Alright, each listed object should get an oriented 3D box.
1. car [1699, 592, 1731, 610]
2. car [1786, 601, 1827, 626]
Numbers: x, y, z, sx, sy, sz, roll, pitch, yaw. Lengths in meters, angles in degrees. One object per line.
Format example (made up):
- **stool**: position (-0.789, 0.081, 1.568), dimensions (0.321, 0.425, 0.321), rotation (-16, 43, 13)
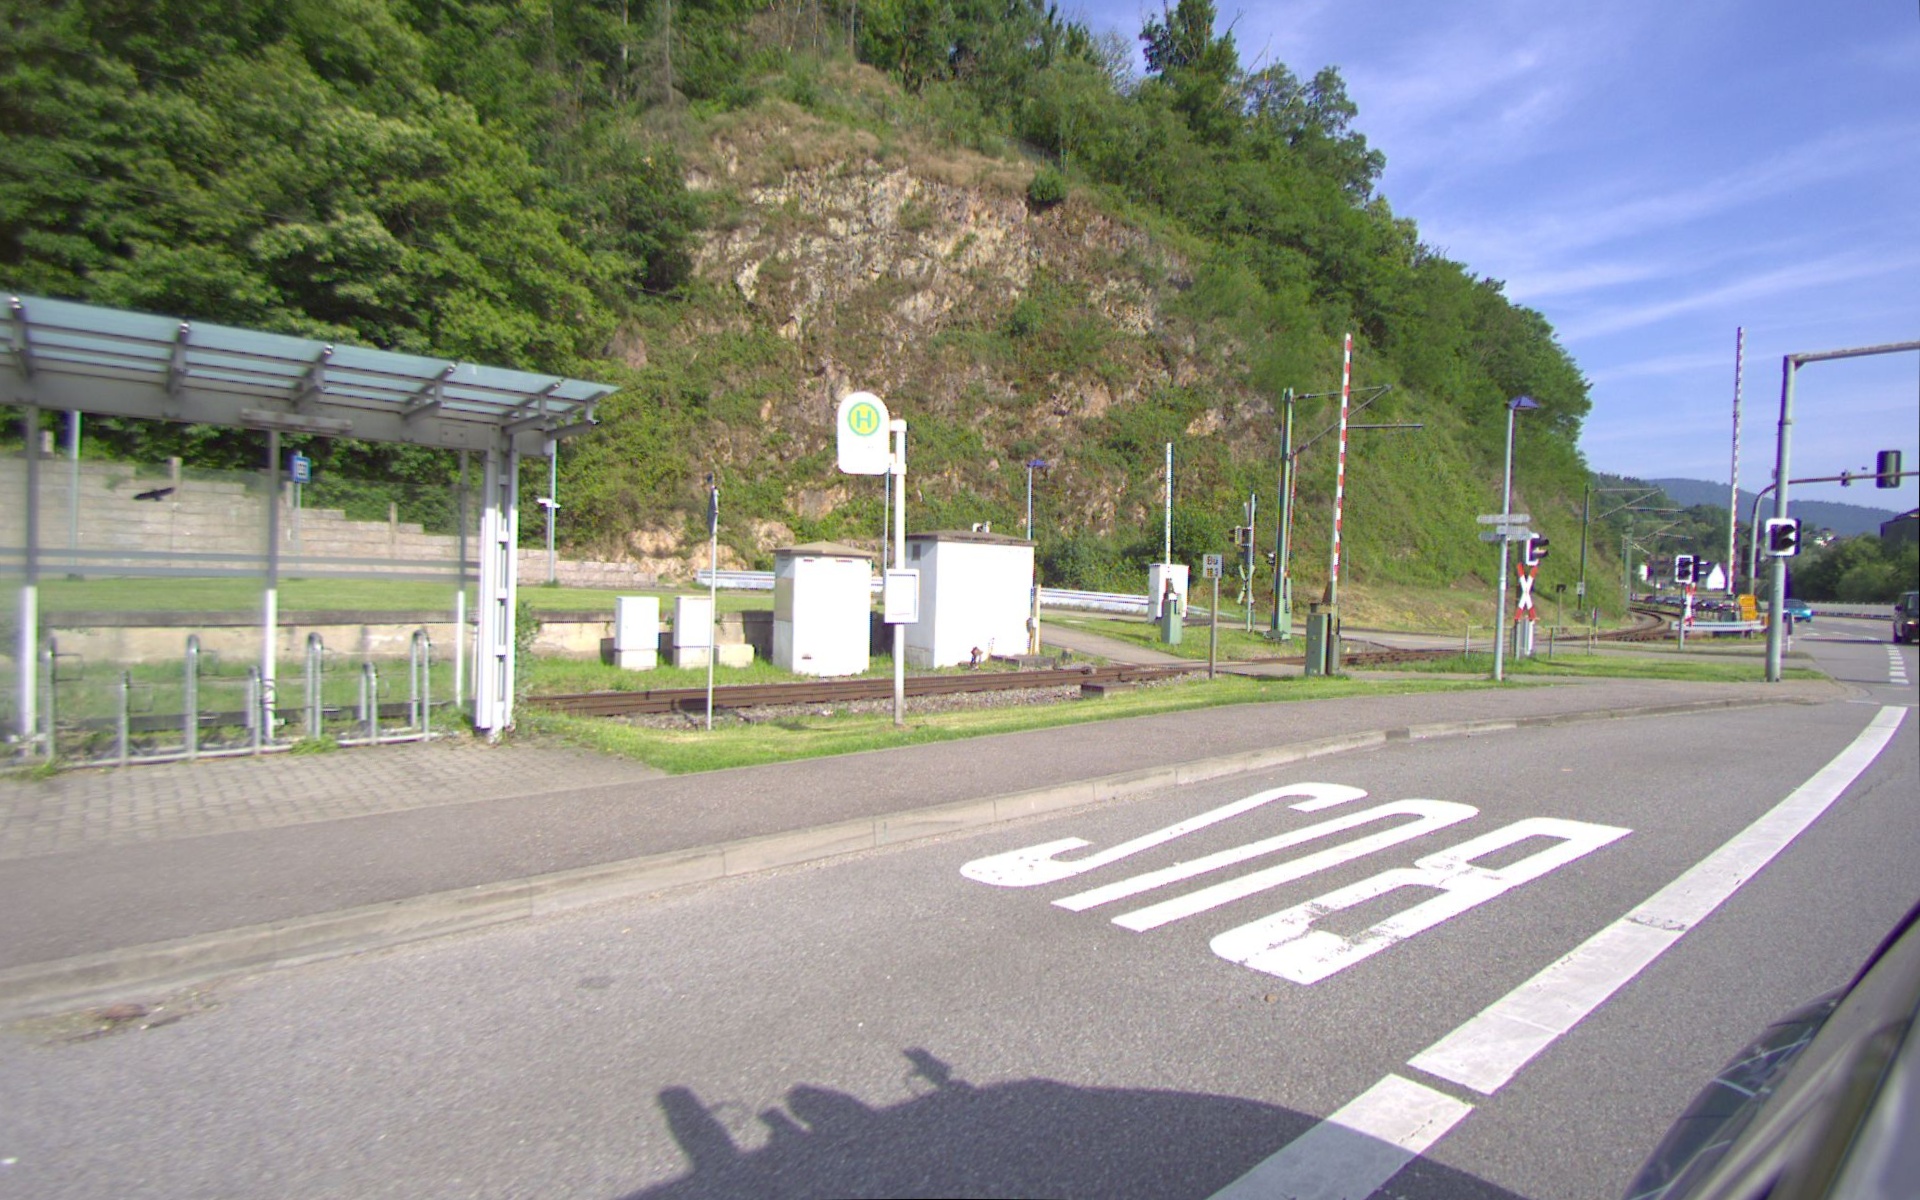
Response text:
- **car**: position (76.097, 0.087, 102.020), dimensions (1.981, 1.816, 3.961), rotation (1, 1, 28)
- **car**: position (58.546, 0.901, 70.036), dimensions (1.758, 1.478, 3.533), rotation (4, 3, 34)
